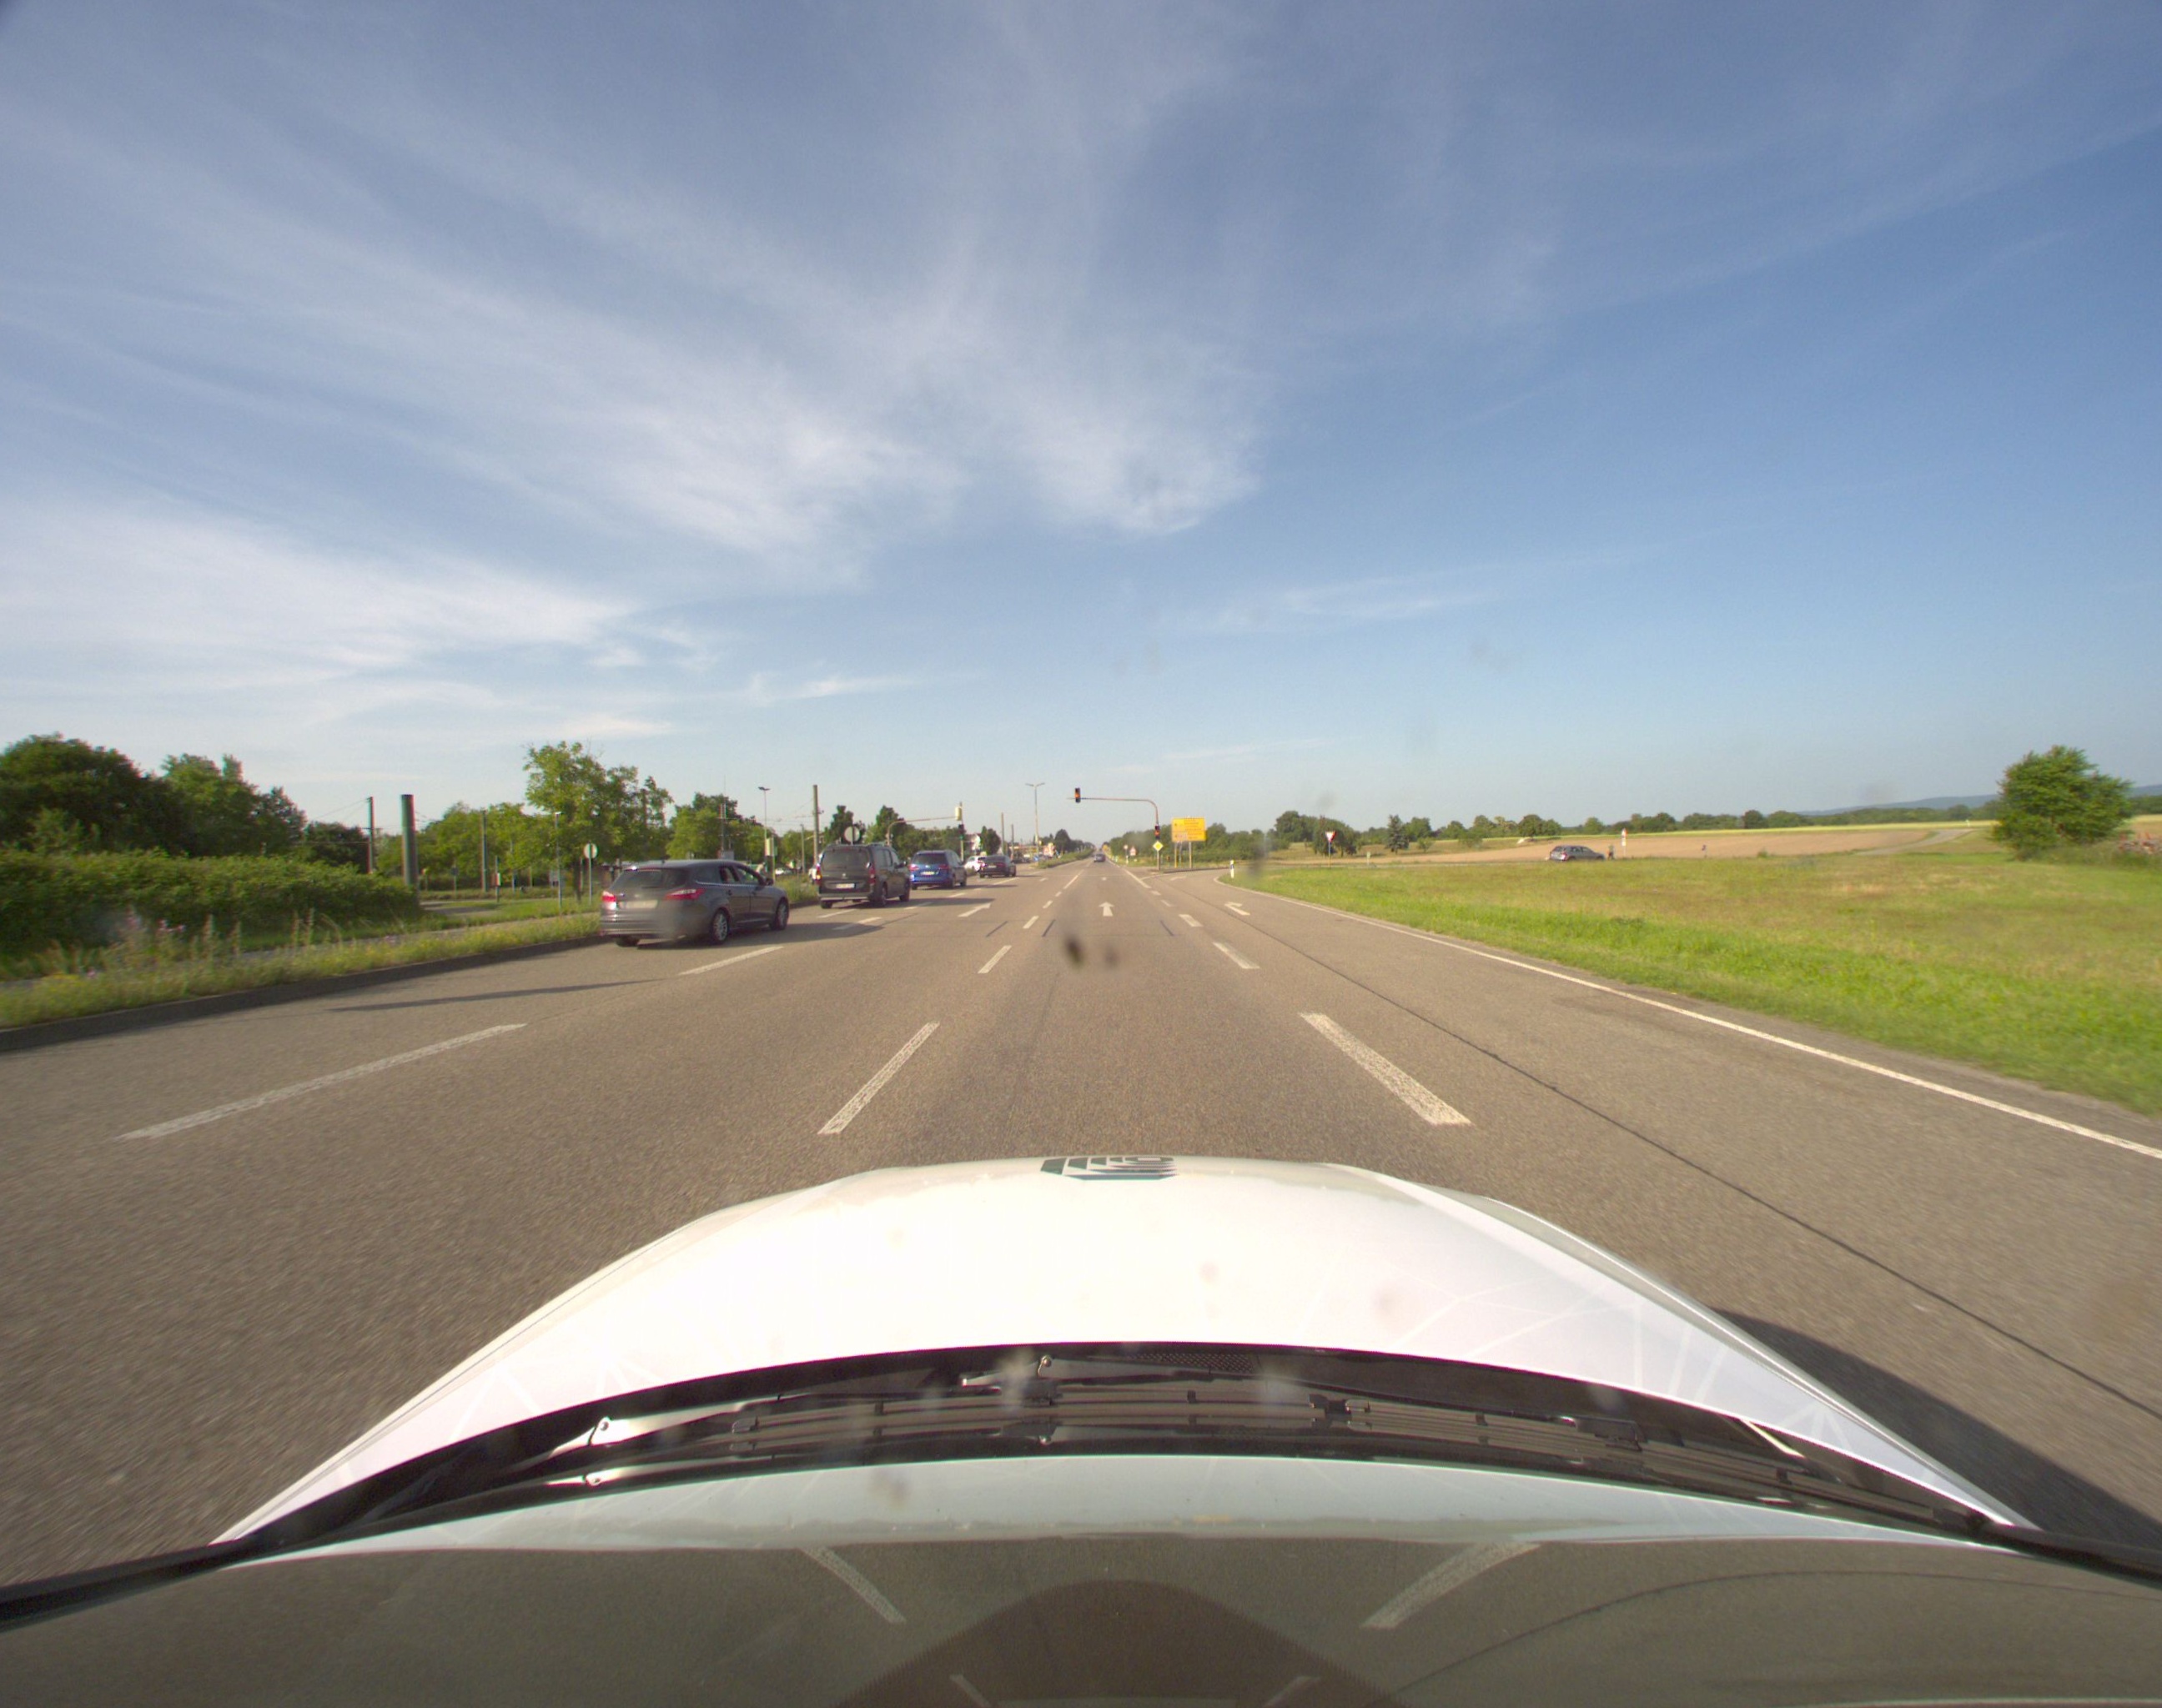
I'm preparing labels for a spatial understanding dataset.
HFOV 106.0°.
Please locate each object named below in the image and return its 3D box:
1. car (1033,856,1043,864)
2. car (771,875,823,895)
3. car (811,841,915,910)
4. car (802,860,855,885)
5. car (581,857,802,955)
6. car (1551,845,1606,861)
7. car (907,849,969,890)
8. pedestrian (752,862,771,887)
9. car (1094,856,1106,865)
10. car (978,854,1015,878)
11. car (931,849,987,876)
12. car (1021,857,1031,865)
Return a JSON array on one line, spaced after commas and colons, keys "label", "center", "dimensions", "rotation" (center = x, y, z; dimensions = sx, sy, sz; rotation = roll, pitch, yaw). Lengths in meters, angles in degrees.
[{"label": "car", "center": [-9.011, 1.186, 169.486], "dimensions": [1.792, 1.622, 3.623], "rotation": [0, -1, 2]}, {"label": "car", "center": [-26.622, 2.901, 76.526], "dimensions": [4.280, 1.717, 1.912], "rotation": [-1, 0, -9]}, {"label": "car", "center": [-6.401, 0.586, 24.472], "dimensions": [1.725, 1.855, 4.522], "rotation": [-1, 0, 2]}, {"label": "car", "center": [-17.448, 1.286, 56.239], "dimensions": [1.898, 1.662, 3.951], "rotation": [2, -2, -44]}, {"label": "car", "center": [-6.850, 0.817, 14.968], "dimensions": [1.725, 1.456, 4.522], "rotation": [-1, 0, 2]}, {"label": "car", "center": [40.090, -0.063, 65.676], "dimensions": [3.625, 1.219, 1.559], "rotation": [-1, 0, -7]}, {"label": "car", "center": [-6.287, 0.639, 36.194], "dimensions": [1.763, 1.679, 4.522], "rotation": [-1, 0, 2]}, {"label": "pedestrian", "center": [-21.909, 1.388, 55.853], "dimensions": [0.914, 1.706, 1.066], "rotation": [0, -2, -4]}, {"label": "car", "center": [3.334, 1.080, 142.471], "dimensions": [1.986, 1.552, 4.002], "rotation": [-1, 0, 2]}, {"label": "car", "center": [-5.377, 0.746, 52.309], "dimensions": [1.763, 1.471, 4.017], "rotation": [-1, 0, 2]}, {"label": "car", "center": [-9.578, 0.693, 63.846], "dimensions": [3.949, 2.013, 1.846], "rotation": [-1, 0, 29]}, {"label": "car", "center": [-12.044, 1.589, 178.482], "dimensions": [1.682, 1.662, 3.760], "rotation": [-1, 0, 2]}]
